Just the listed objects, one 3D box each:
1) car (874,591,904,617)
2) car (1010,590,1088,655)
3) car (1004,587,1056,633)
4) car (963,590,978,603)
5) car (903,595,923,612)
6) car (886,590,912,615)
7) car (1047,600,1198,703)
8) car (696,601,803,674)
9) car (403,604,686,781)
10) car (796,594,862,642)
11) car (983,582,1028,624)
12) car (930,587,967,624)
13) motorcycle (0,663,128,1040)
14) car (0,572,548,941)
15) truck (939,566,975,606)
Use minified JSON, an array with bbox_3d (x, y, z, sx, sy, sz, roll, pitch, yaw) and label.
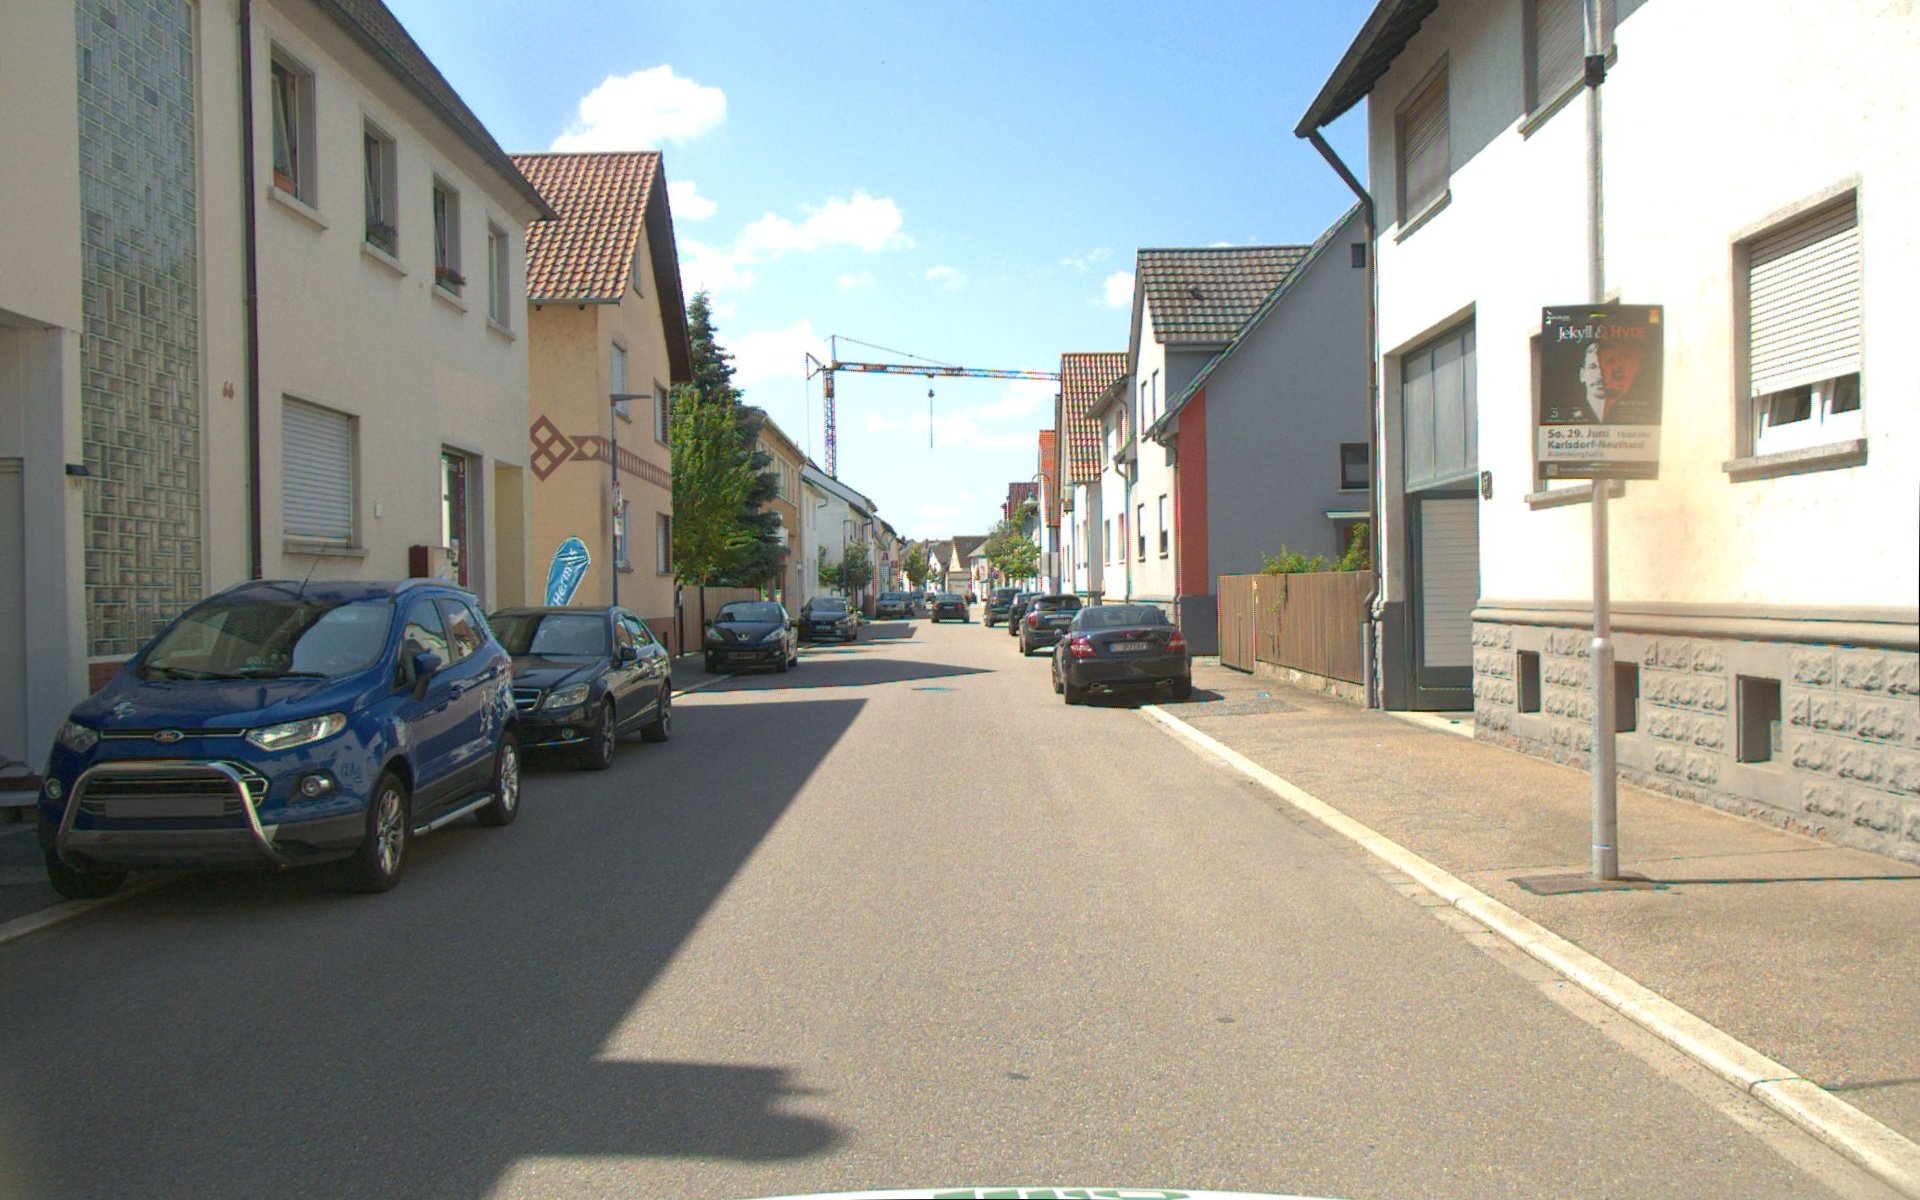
[{"bbox_3d":[-4.477,0.243,104.799,1.723,1.551,4.288,-2,0,-1],"label":"car"},{"bbox_3d":[2.128,0.513,40.309,1.654,1.447,3.656,-2,0,0],"label":"car"},{"bbox_3d":[2.519,0.331,60.230,1.584,1.521,3.971,-4,0,-1],"label":"car"},{"bbox_3d":[1.320,-0.423,210.755,1.747,1.591,4.335,-2,0,-2],"label":"car"},{"bbox_3d":[-4.258,0.311,150.872,1.688,1.583,4.172,0,0,0],"label":"car"},{"bbox_3d":[-4.108,0.158,111.341,1.620,1.637,4.060,-2,0,-1],"label":"car"},{"bbox_3d":[2.261,0.687,23.946,1.778,1.298,4.147,-1,0,0],"label":"car"},{"bbox_3d":[-4.309,0.742,34.385,1.725,1.398,4.066,0,0,-1],"label":"car"},{"bbox_3d":[-3.900,0.795,16.275,1.663,1.436,4.390,-1,0,0],"label":"car"},{"bbox_3d":[-4.338,0.578,55.323,1.731,1.485,4.437,-1,0,1],"label":"car"},{"bbox_3d":[1.973,0.129,72.848,1.694,1.747,4.274,-1,0,-2],"label":"car"},{"bbox_3d":[-0.602,0.279,83.599,1.747,1.784,3.999,-2,0,-1],"label":"car"},{"bbox_3d":[-3.910,0.948,5.926,0.792,1.335,2.105,-1,0,-1],"label":"motorcycle"},{"bbox_3d":[-3.839,0.731,9.991,1.683,1.668,4.147,-3,0,-2],"label":"car"},{"bbox_3d":[-0.392,-1.441,177.534,3.311,3.932,13.921,-2,0,-2],"label":"truck"}]
